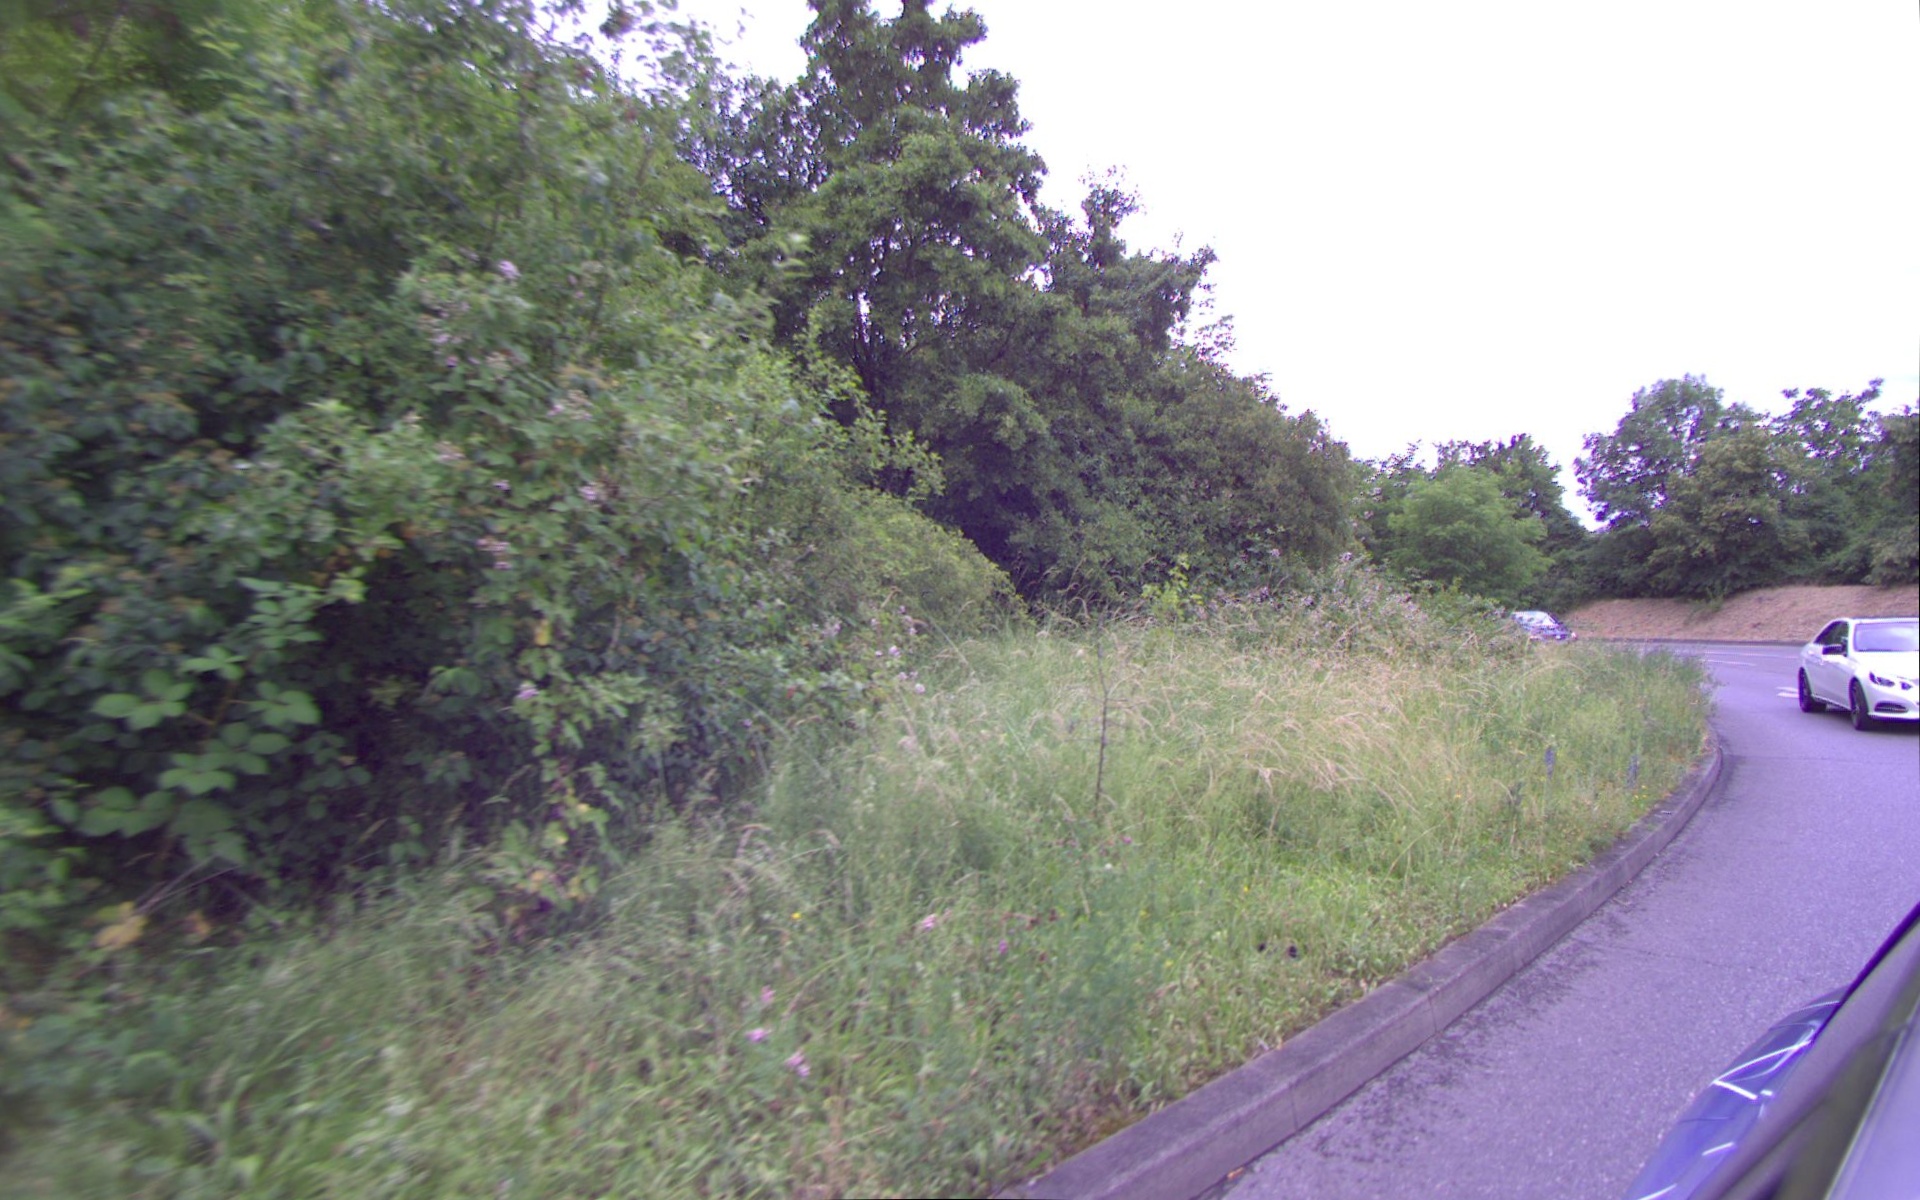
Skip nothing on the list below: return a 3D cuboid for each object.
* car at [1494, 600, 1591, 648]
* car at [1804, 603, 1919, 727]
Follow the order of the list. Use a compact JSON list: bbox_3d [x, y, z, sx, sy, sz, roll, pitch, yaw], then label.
[{"bbox_3d":[20.025,0.862,34.964,1.796,1.565,3.711,-1,-3,12],"label":"car"},{"bbox_3d":[13.145,0.790,13.713,1.872,1.441,3.958,-3,-2,30],"label":"car"}]
